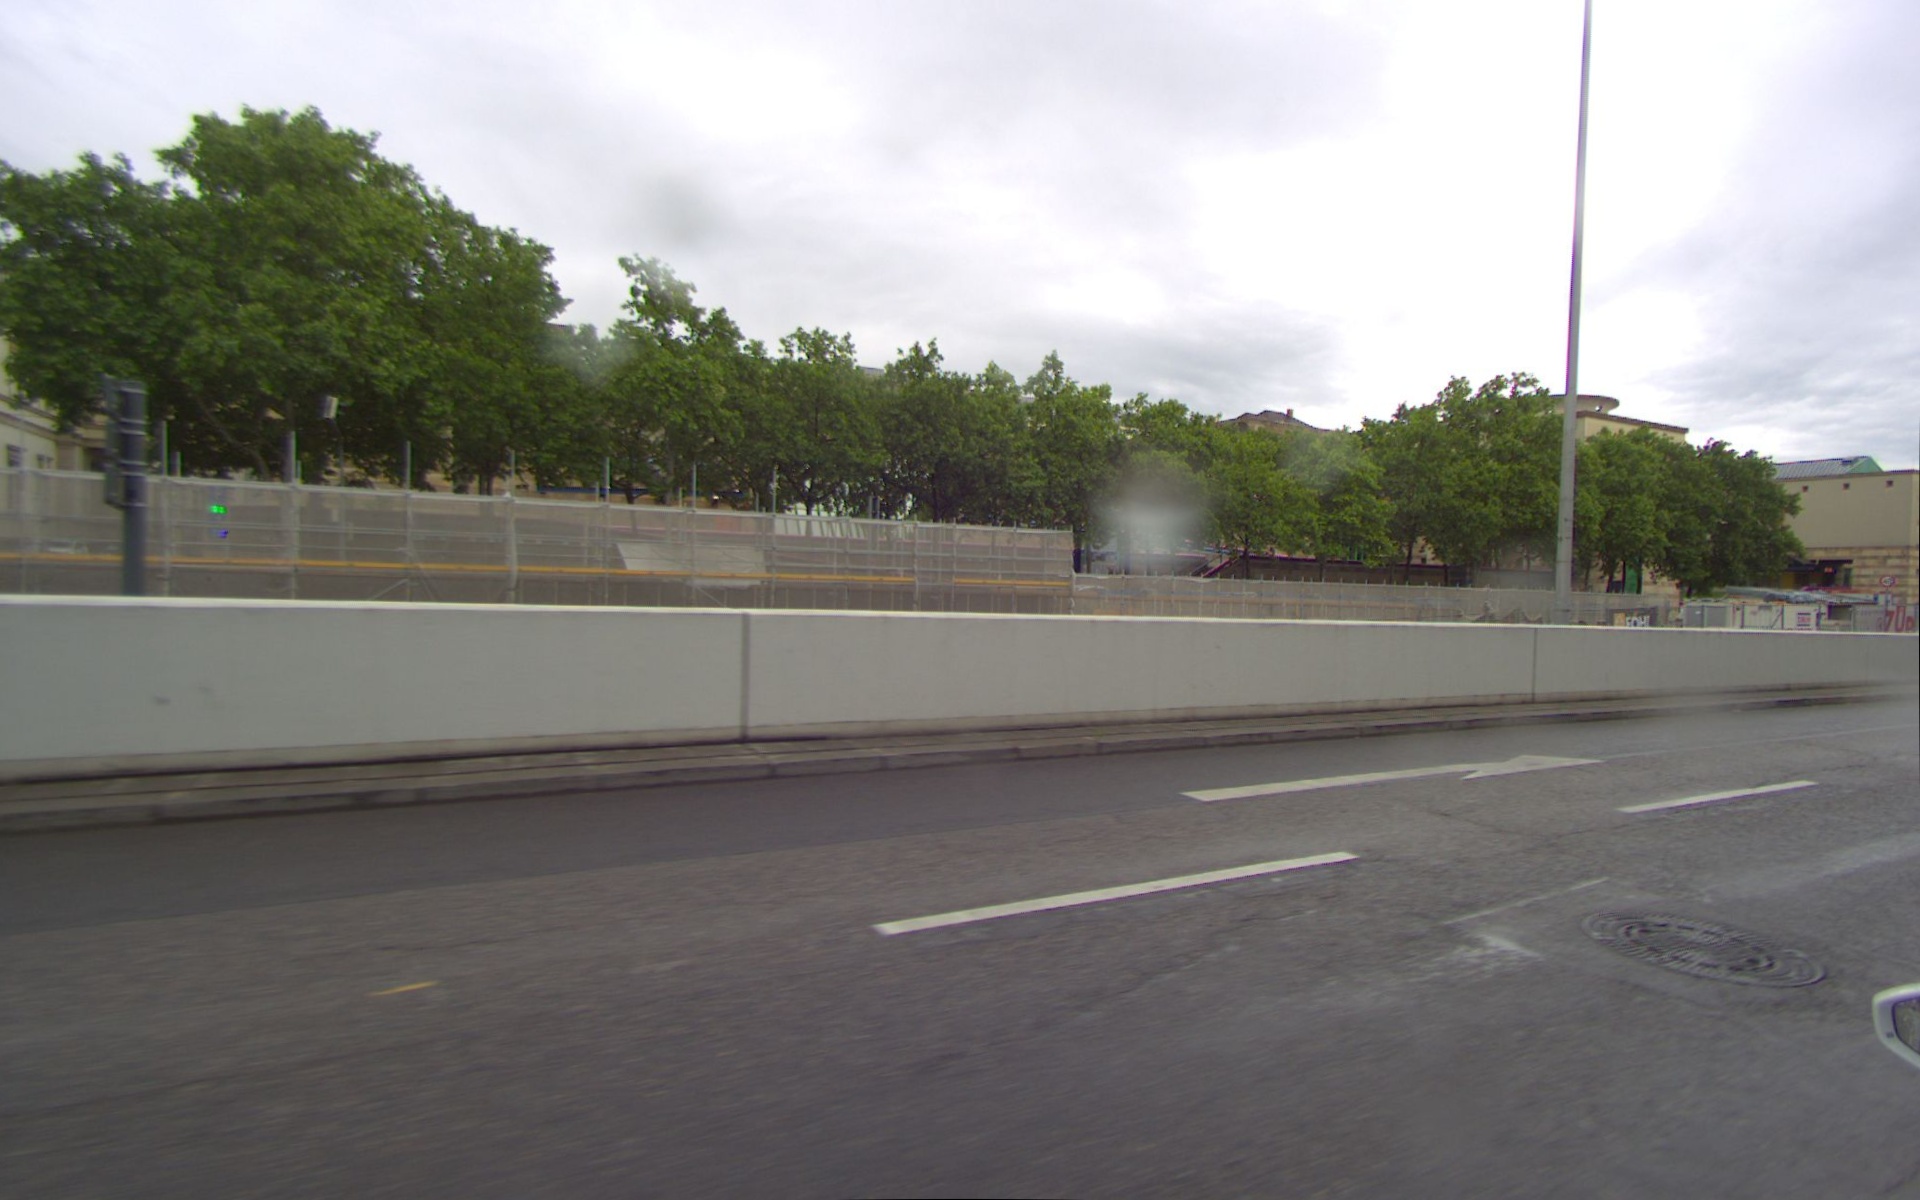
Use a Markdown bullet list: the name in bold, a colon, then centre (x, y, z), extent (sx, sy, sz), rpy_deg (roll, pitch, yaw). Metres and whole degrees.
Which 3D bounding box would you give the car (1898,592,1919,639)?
- **car**: centre (43.714, 0.739, 44.532), extent (3.953, 2.041, 1.983), rpy_deg (1, 3, -31)
